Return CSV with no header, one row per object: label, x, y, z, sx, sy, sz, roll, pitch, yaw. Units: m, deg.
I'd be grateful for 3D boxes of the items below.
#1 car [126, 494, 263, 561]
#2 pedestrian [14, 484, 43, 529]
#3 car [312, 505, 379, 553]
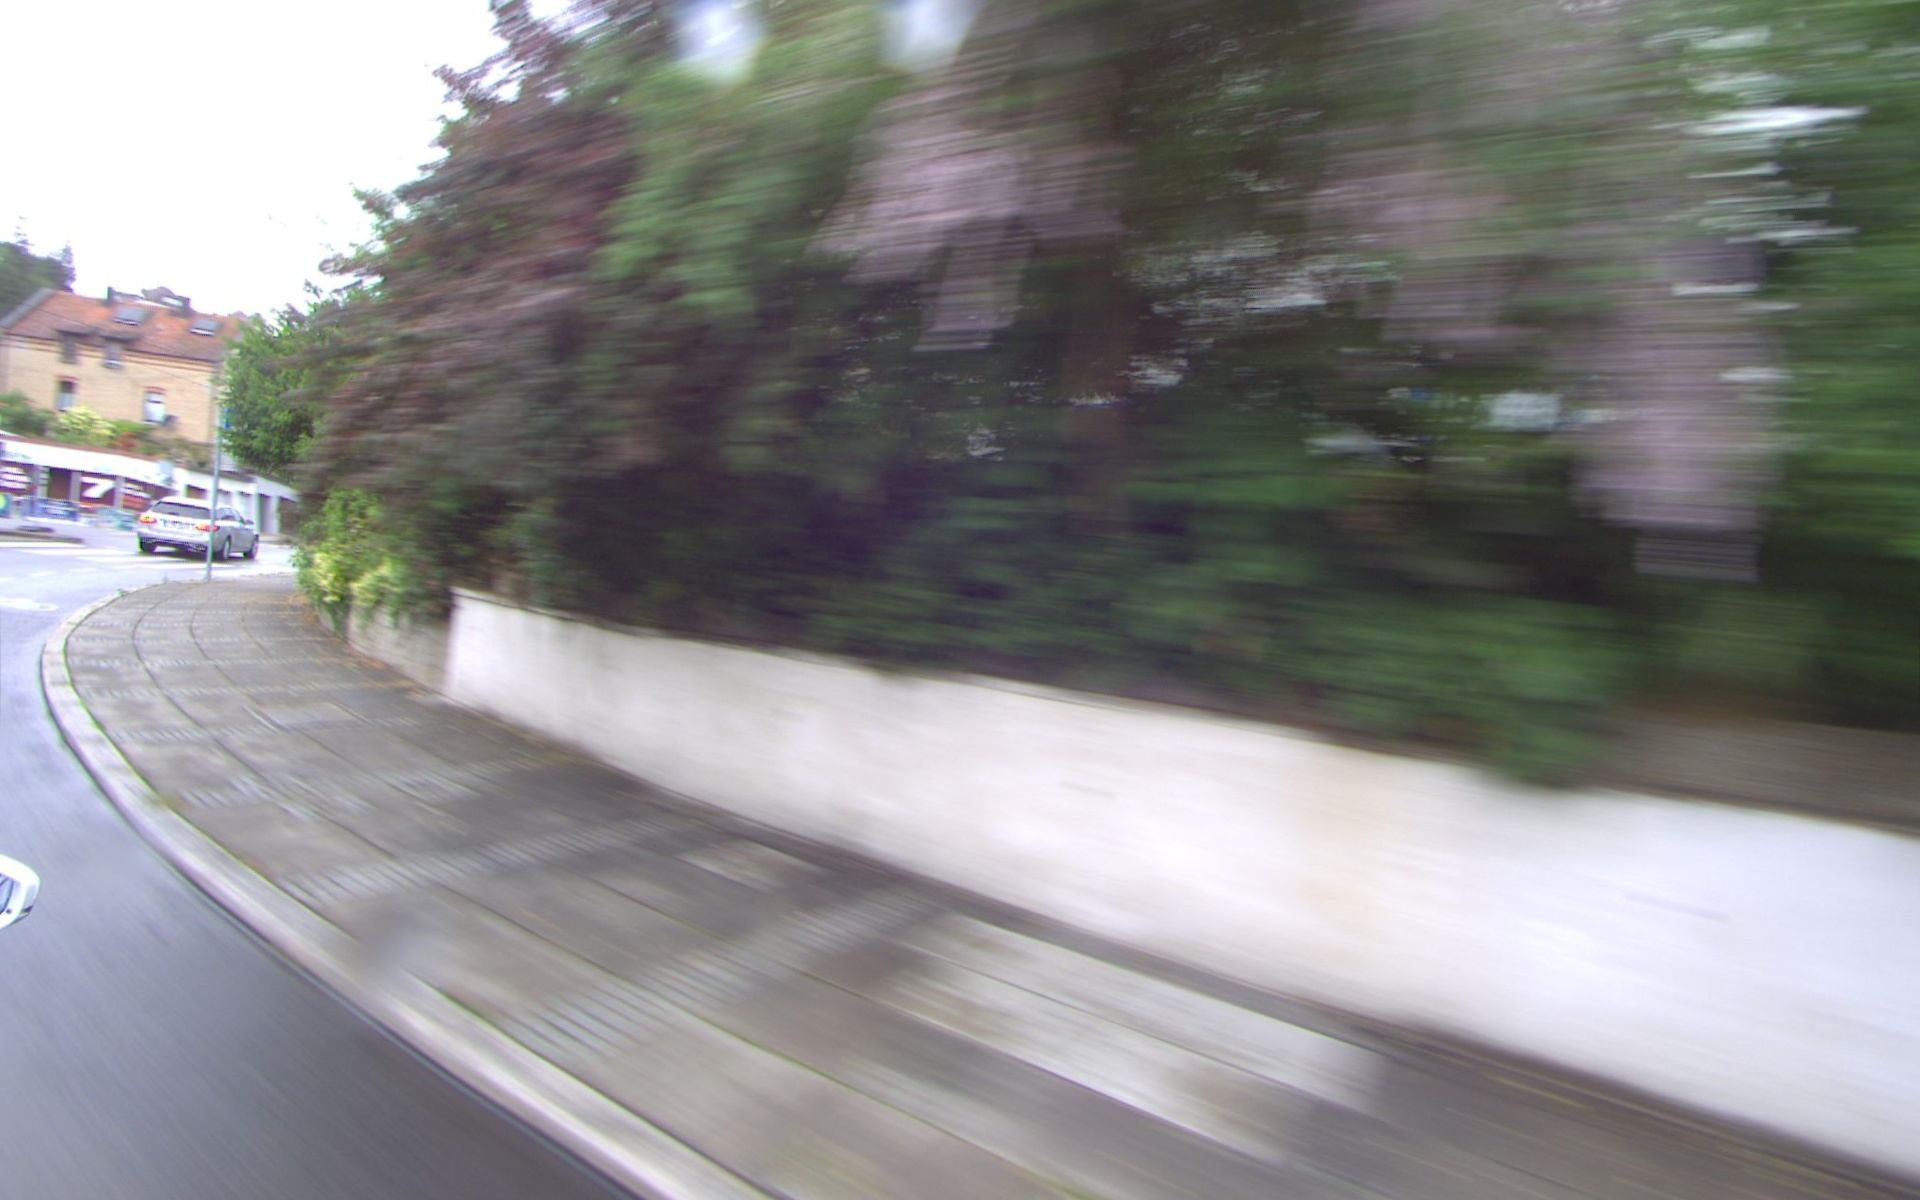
car,-19.958,-1.854,26.420,1.794,1.377,3.978,8,0,-23
pedestrian,-37.301,-3.726,40.277,0.614,1.711,0.584,5,2,17
car,-27.884,-3.197,45.755,1.804,1.842,3.979,6,1,-21
